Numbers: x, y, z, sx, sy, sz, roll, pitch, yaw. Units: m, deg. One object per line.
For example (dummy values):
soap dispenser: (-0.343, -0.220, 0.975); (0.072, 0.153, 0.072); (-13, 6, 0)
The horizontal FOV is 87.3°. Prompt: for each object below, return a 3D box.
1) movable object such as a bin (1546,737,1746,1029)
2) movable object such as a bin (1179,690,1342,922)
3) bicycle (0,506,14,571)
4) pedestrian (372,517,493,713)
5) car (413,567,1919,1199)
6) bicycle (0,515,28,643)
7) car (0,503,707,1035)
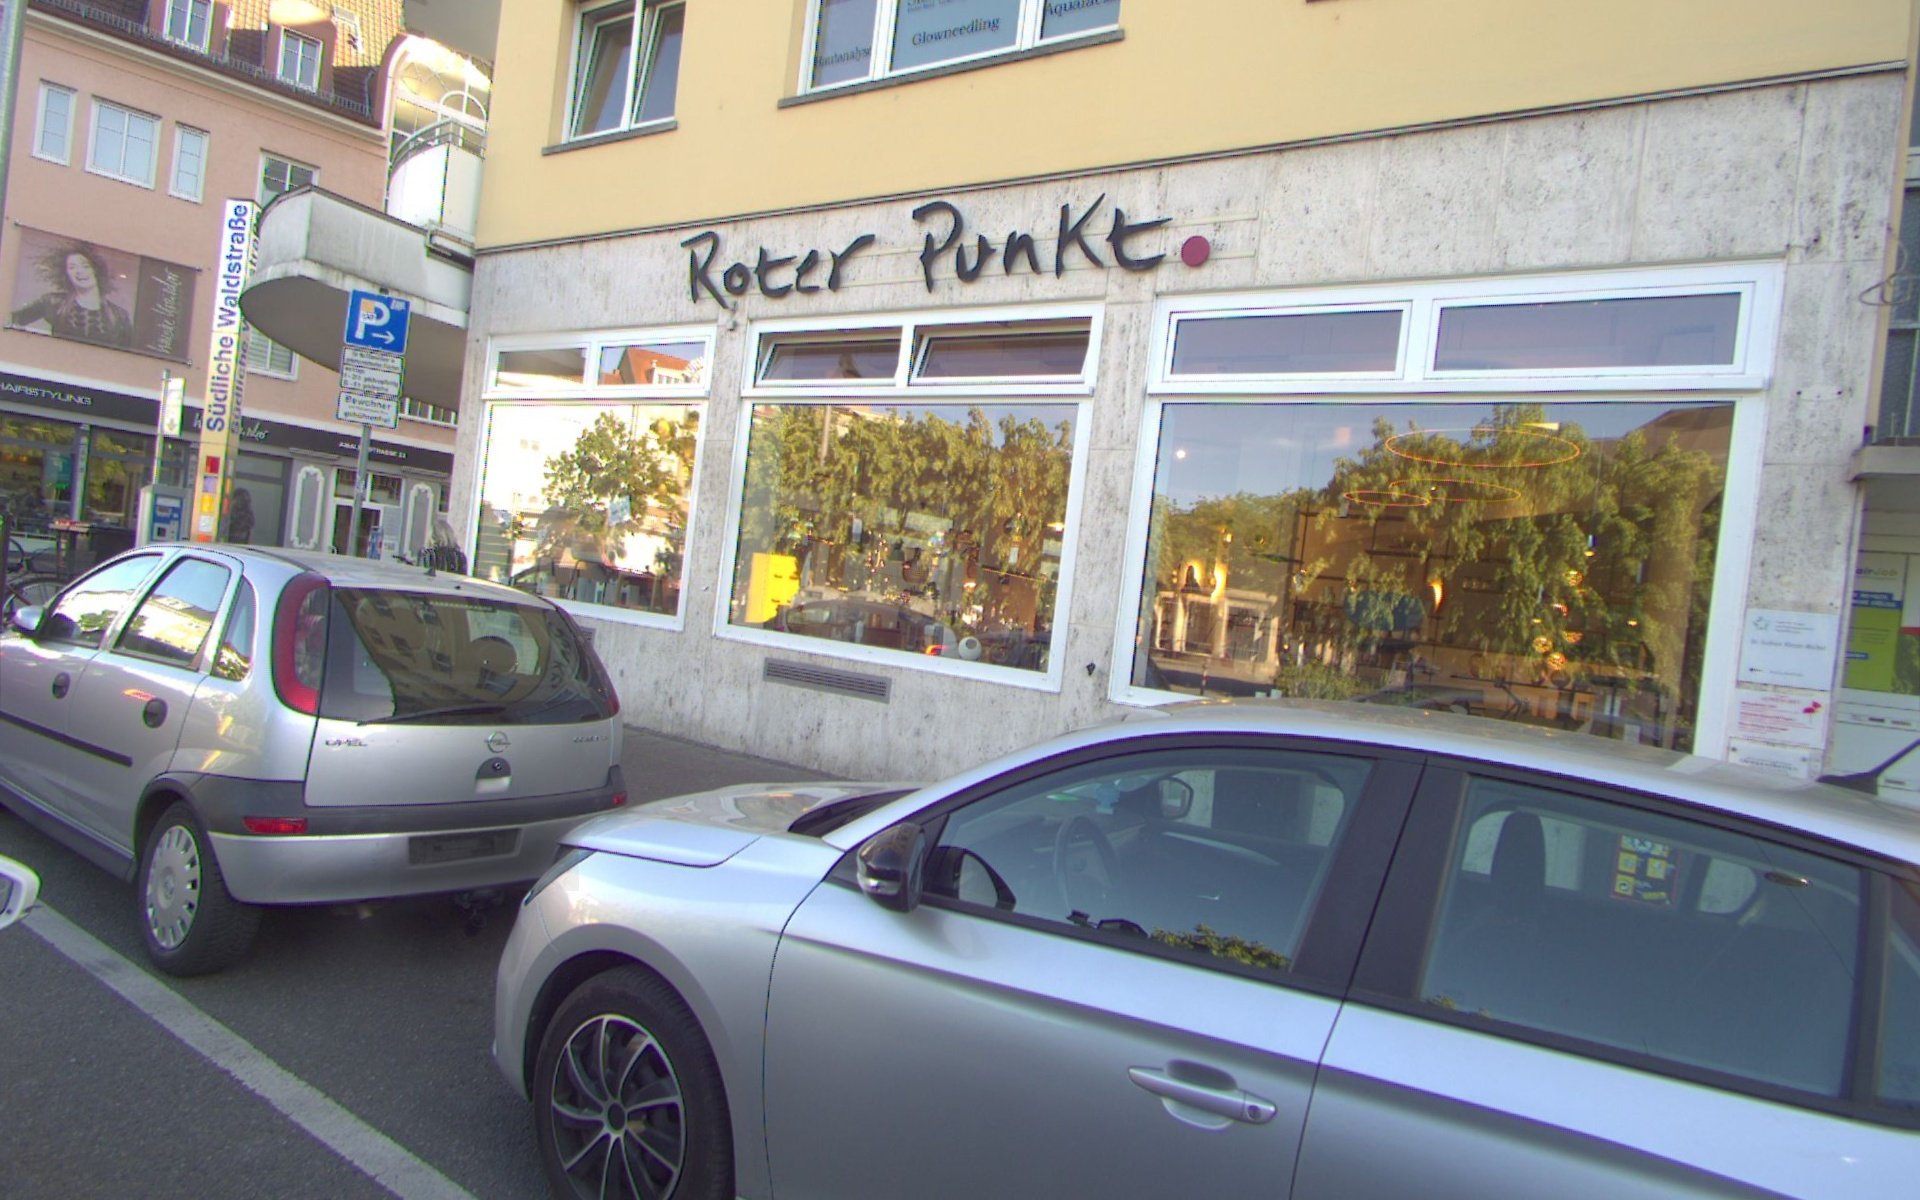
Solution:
movable object such as a bin: (3.146, 1.254, 4.679); (0.609, 1.082, 0.703); (7, 3, 31)
movable object such as a bin: (1.680, 1.094, 5.593); (0.609, 1.082, 0.703); (7, 3, 31)
bicycle: (-16.433, -1.107, 16.221); (0.583, 1.057, 1.612); (6, -2, 44)
pedestrian: (-4.719, 0.129, 9.008); (0.618, 1.654, 0.661); (6, 2, 36)
car: (0.764, 0.899, 2.312); (4.009, 1.444, 1.673); (7, -1, 32)
bicycle: (-9.372, -0.240, 8.836); (0.425, 1.175, 1.629); (7, 1, 30)
car: (-3.173, 0.427, 4.588); (3.822, 1.411, 1.624); (7, -1, 33)
